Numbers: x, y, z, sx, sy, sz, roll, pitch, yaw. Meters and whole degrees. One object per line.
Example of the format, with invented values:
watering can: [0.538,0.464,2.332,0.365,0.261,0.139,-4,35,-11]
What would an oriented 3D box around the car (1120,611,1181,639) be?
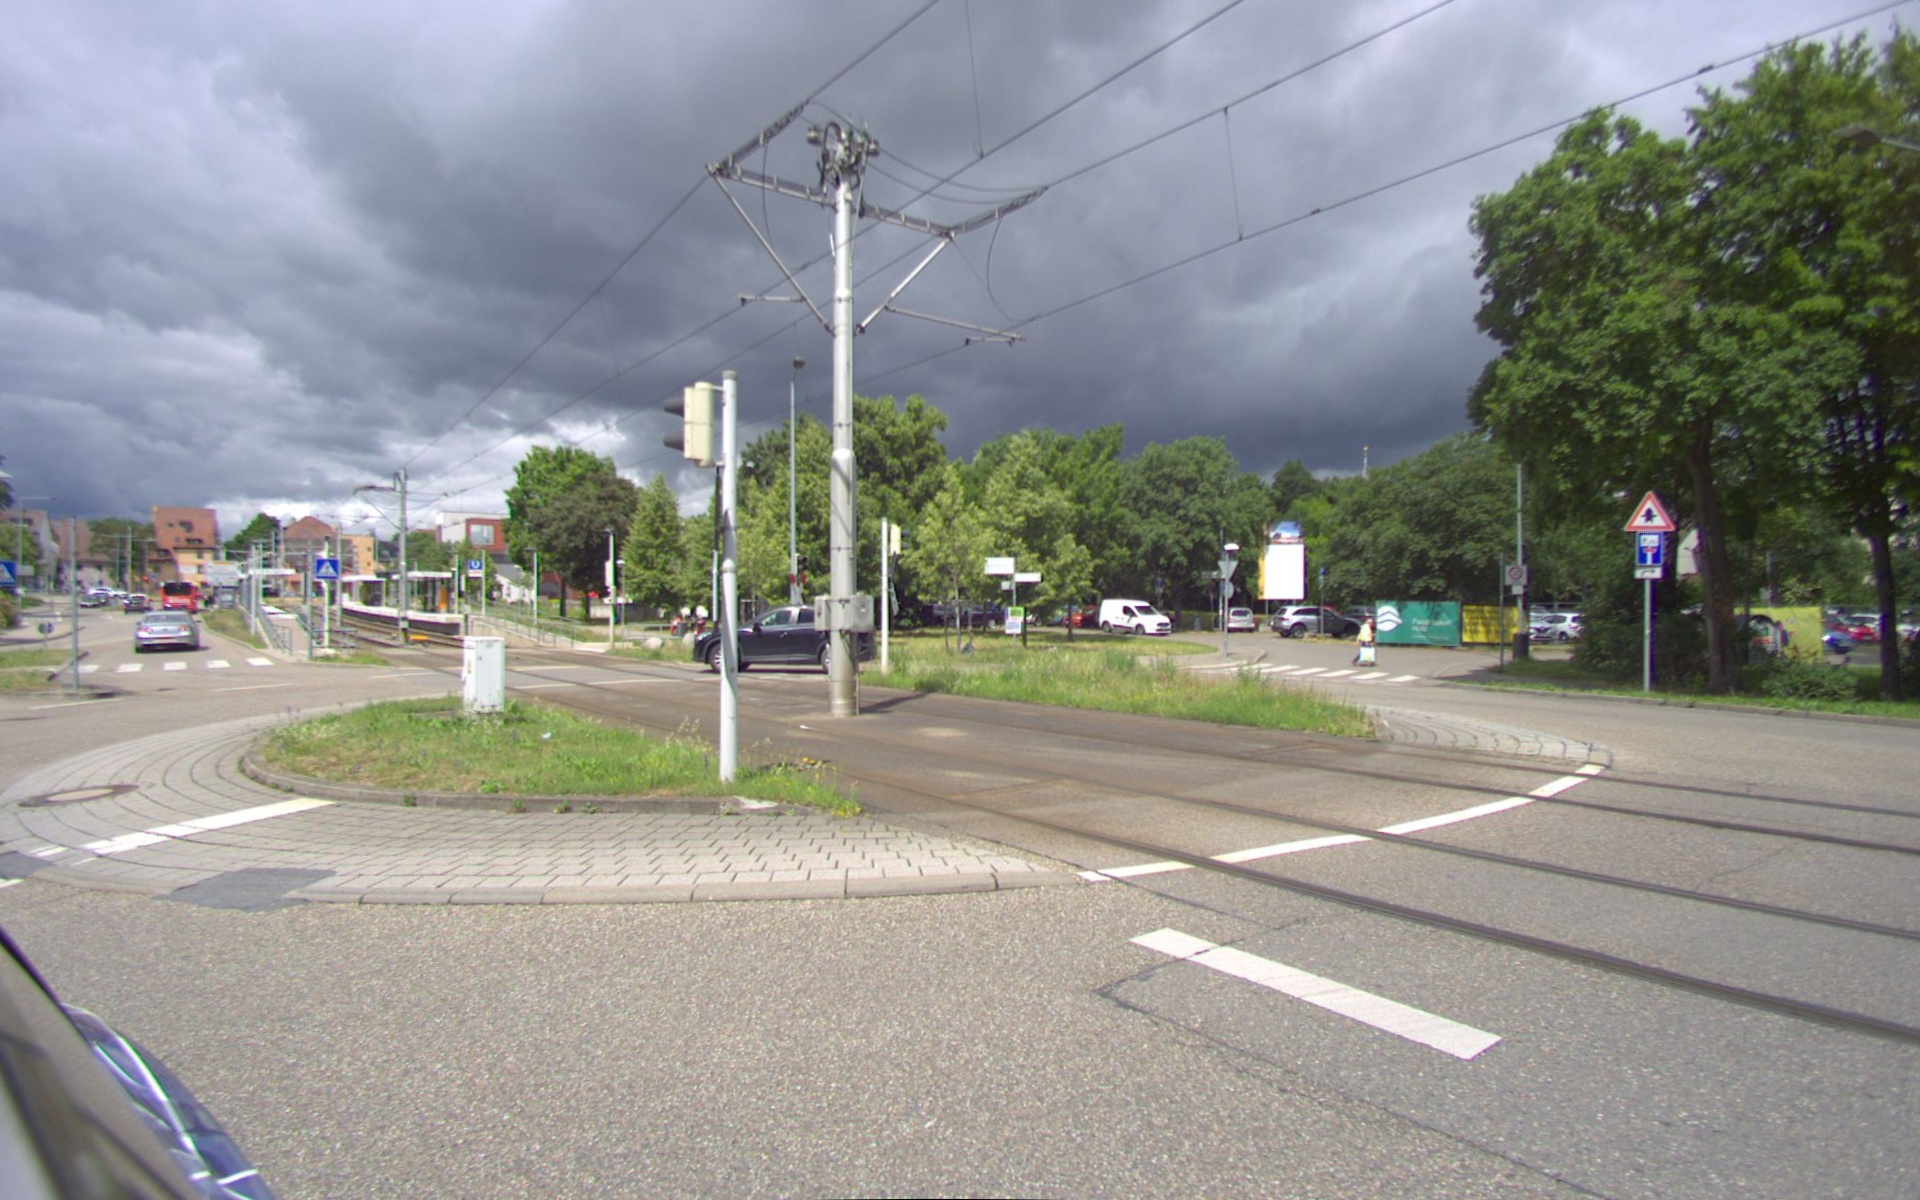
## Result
car: [11.758,1.547,62.369,3.558,1.602,1.633,2,-2,-34]

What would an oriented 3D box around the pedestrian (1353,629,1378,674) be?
pedestrian: [13.734,1.750,34.322,0.745,1.468,0.891,-1,0,20]

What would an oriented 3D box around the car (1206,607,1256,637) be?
car: [15.821,1.255,59.194,1.973,1.697,3.997,0,-1,3]

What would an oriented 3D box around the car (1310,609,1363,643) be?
car: [19.915,1.329,53.610,1.978,1.601,3.574,1,1,10]

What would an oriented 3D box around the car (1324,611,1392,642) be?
car: [23.595,1.607,60.149,1.968,1.767,4.008,0,-2,-9]

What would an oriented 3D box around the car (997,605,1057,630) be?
car: [4.511,1.149,68.122,3.903,1.652,1.572,0,0,41]

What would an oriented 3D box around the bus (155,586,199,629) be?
bus: [-74.350,0.760,96.270,2.877,3.916,10.403,1,-1,-36]

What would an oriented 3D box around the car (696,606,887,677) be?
car: [-4.009,0.988,24.529,4.268,1.597,1.858,1,-2,3]

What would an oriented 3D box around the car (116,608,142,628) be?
car: [-81.663,1.738,99.528,1.821,1.942,3.785,1,-1,-37]

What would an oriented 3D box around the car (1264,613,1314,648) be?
car: [17.356,1.575,53.522,1.978,1.601,3.574,1,1,10]

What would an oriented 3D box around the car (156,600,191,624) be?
car: [-52.122,0.753,67.120,1.711,1.521,3.523,-1,0,-37]

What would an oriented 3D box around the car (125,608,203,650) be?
car: [-29.253,1.019,37.317,1.909,1.392,4.673,-1,0,-34]

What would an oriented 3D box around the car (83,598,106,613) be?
car: [-106.363,0.686,124.377,1.968,1.874,4.008,1,-1,-38]

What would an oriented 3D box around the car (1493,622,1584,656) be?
car: [27.461,1.820,48.193,1.731,1.431,4.006,-1,0,-6]

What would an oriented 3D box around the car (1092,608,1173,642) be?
car: [9.159,1.286,53.923,1.713,1.702,4.362,-1,0,-34]

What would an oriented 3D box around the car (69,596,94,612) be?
car: [-103.933,0.477,119.760,1.968,1.874,4.008,1,-1,-38]

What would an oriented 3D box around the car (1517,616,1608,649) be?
car: [29.425,1.574,49.558,1.731,1.431,4.006,-1,0,-6]
